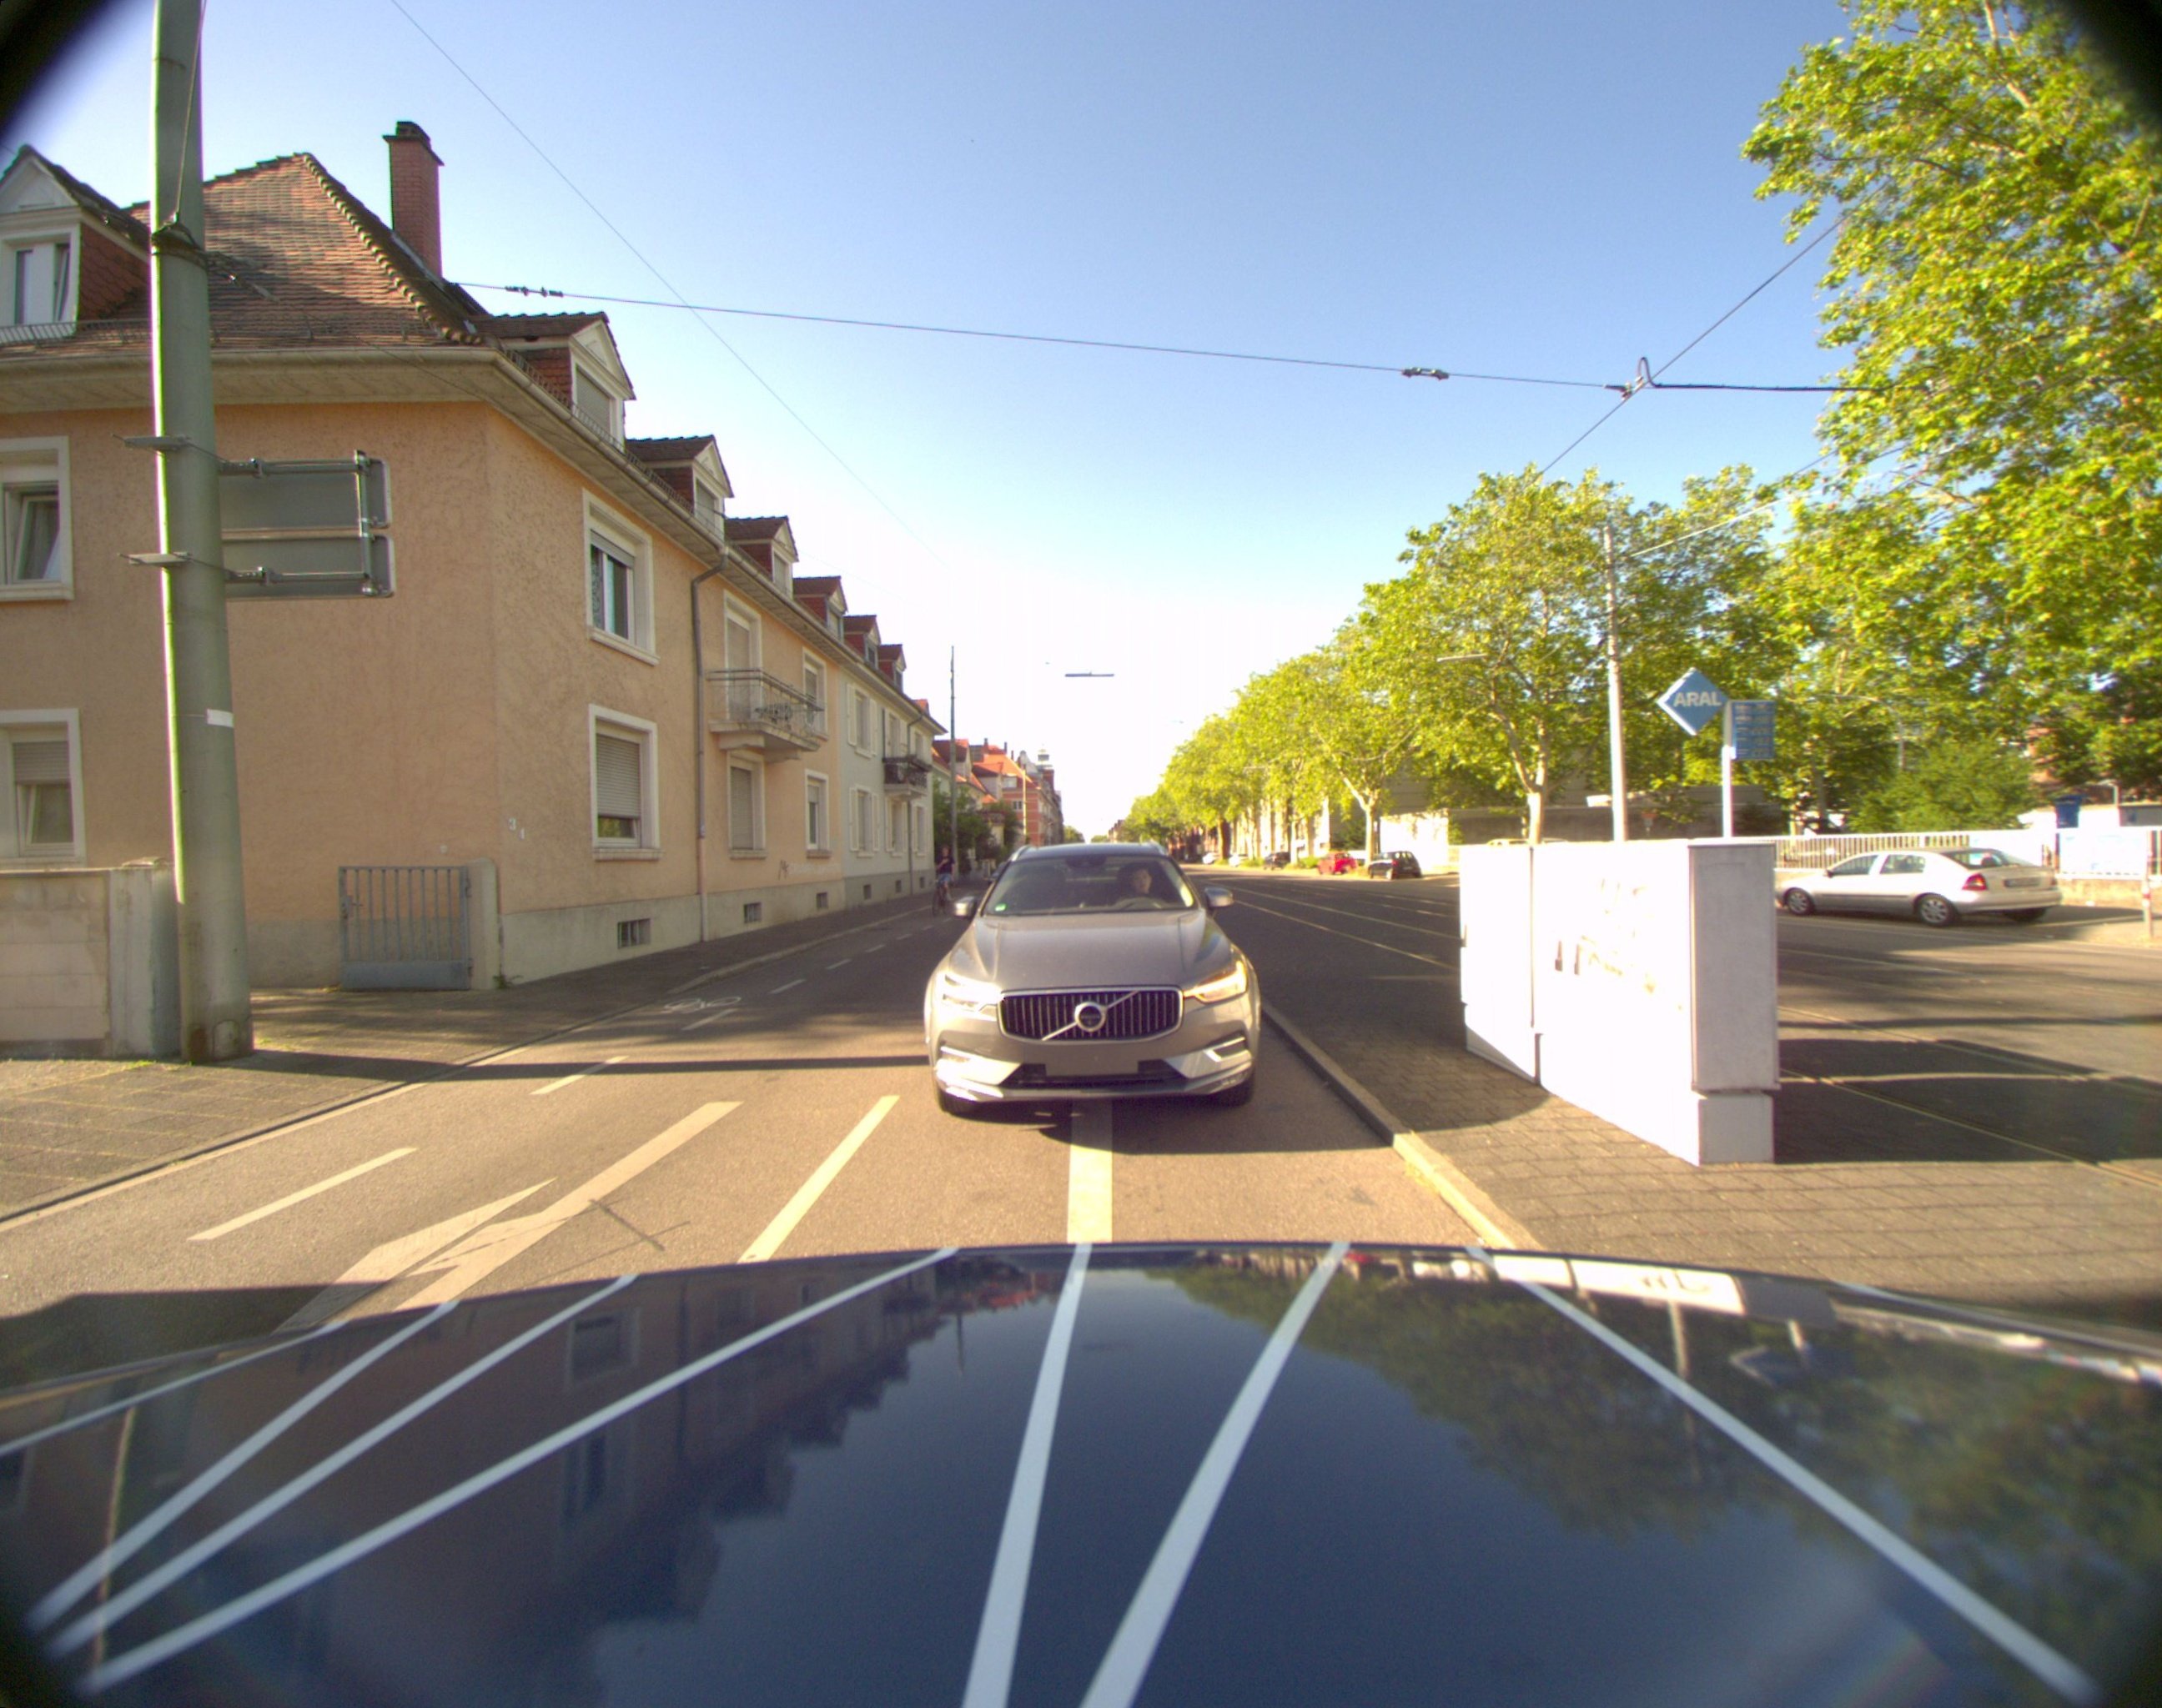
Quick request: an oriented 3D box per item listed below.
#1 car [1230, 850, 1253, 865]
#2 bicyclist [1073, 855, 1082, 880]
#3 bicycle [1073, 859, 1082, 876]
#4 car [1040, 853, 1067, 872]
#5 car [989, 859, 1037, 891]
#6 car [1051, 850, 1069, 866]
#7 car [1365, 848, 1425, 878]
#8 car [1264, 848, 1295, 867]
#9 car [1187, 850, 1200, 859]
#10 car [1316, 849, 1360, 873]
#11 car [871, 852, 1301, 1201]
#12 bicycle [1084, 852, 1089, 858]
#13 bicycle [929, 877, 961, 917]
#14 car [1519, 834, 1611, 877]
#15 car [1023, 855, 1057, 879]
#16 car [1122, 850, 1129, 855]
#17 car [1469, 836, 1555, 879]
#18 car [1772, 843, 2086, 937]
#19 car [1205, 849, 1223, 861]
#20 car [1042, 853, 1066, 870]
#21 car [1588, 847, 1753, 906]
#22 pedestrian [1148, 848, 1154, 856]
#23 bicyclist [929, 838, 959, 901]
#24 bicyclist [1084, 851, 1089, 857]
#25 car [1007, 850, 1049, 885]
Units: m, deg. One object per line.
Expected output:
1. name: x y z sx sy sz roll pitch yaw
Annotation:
1. car: 17.580 0.354 83.346 1.758 1.475 3.858 -3 0 3
2. bicyclist: -0.218 0.920 51.468 0.562 1.607 1.016 -2 1 0
3. bicycle: -0.228 0.888 51.182 0.550 1.056 1.794 -1 1 -1
4. car: -2.131 0.665 60.060 1.867 1.399 4.078 -1 0 1
5. car: -3.235 0.963 37.079 1.867 1.399 4.424 -1 0 1
6. car: -2.323 0.429 85.453 1.867 1.653 4.078 -1 0 1
7. car: 16.893 0.458 41.045 1.758 1.449 3.858 -3 0 3
8. car: 17.174 0.292 65.918 1.758 1.536 3.858 -3 0 3
9. car: 18.510 0.055 125.296 1.758 1.475 3.858 -3 0 3
10. car: 16.905 0.450 50.187 1.717 1.421 3.858 -3 0 3
11. car: 0.057 0.815 5.934 1.998 1.609 4.697 -1 0 1
12. bicycle: 1.354 0.258 179.253 1.054 1.262 3.914 -1 0 1
13. bicycle: -3.857 1.209 21.664 0.533 1.011 1.758 -1 0 1
14. car: 24.160 0.079 38.103 1.999 2.002 3.999 -1 0 -1
15. car: -2.577 0.812 48.501 1.867 1.399 4.078 -1 0 1
16. car: 14.173 -0.517 240.055 1.998 1.685 4.000 -1 0 1
17. car: 21.812 0.168 38.643 1.999 2.002 3.999 -1 0 -1
18. car: 16.239 0.608 14.910 1.847 1.477 3.858 -4 0 2
19. car: 17.673 0.162 100.939 1.758 1.475 3.858 -3 0 3
20. car: -2.352 0.618 66.364 1.867 1.399 4.078 -1 0 1
21. car: 16.479 0.569 21.517 1.745 1.389 3.858 -4 0 3
22. pedestrian: 19.607 -0.550 213.246 1.686 2.002 1.761 -1 1 1
23. bicyclist: -3.882 0.419 21.629 0.561 1.721 1.084 -2 1 1
24. bicyclist: 1.342 0.034 179.254 1.054 1.496 1.250 -1 1 1
25. car: -2.912 0.700 42.833 1.867 1.778 5.297 -1 0 1
